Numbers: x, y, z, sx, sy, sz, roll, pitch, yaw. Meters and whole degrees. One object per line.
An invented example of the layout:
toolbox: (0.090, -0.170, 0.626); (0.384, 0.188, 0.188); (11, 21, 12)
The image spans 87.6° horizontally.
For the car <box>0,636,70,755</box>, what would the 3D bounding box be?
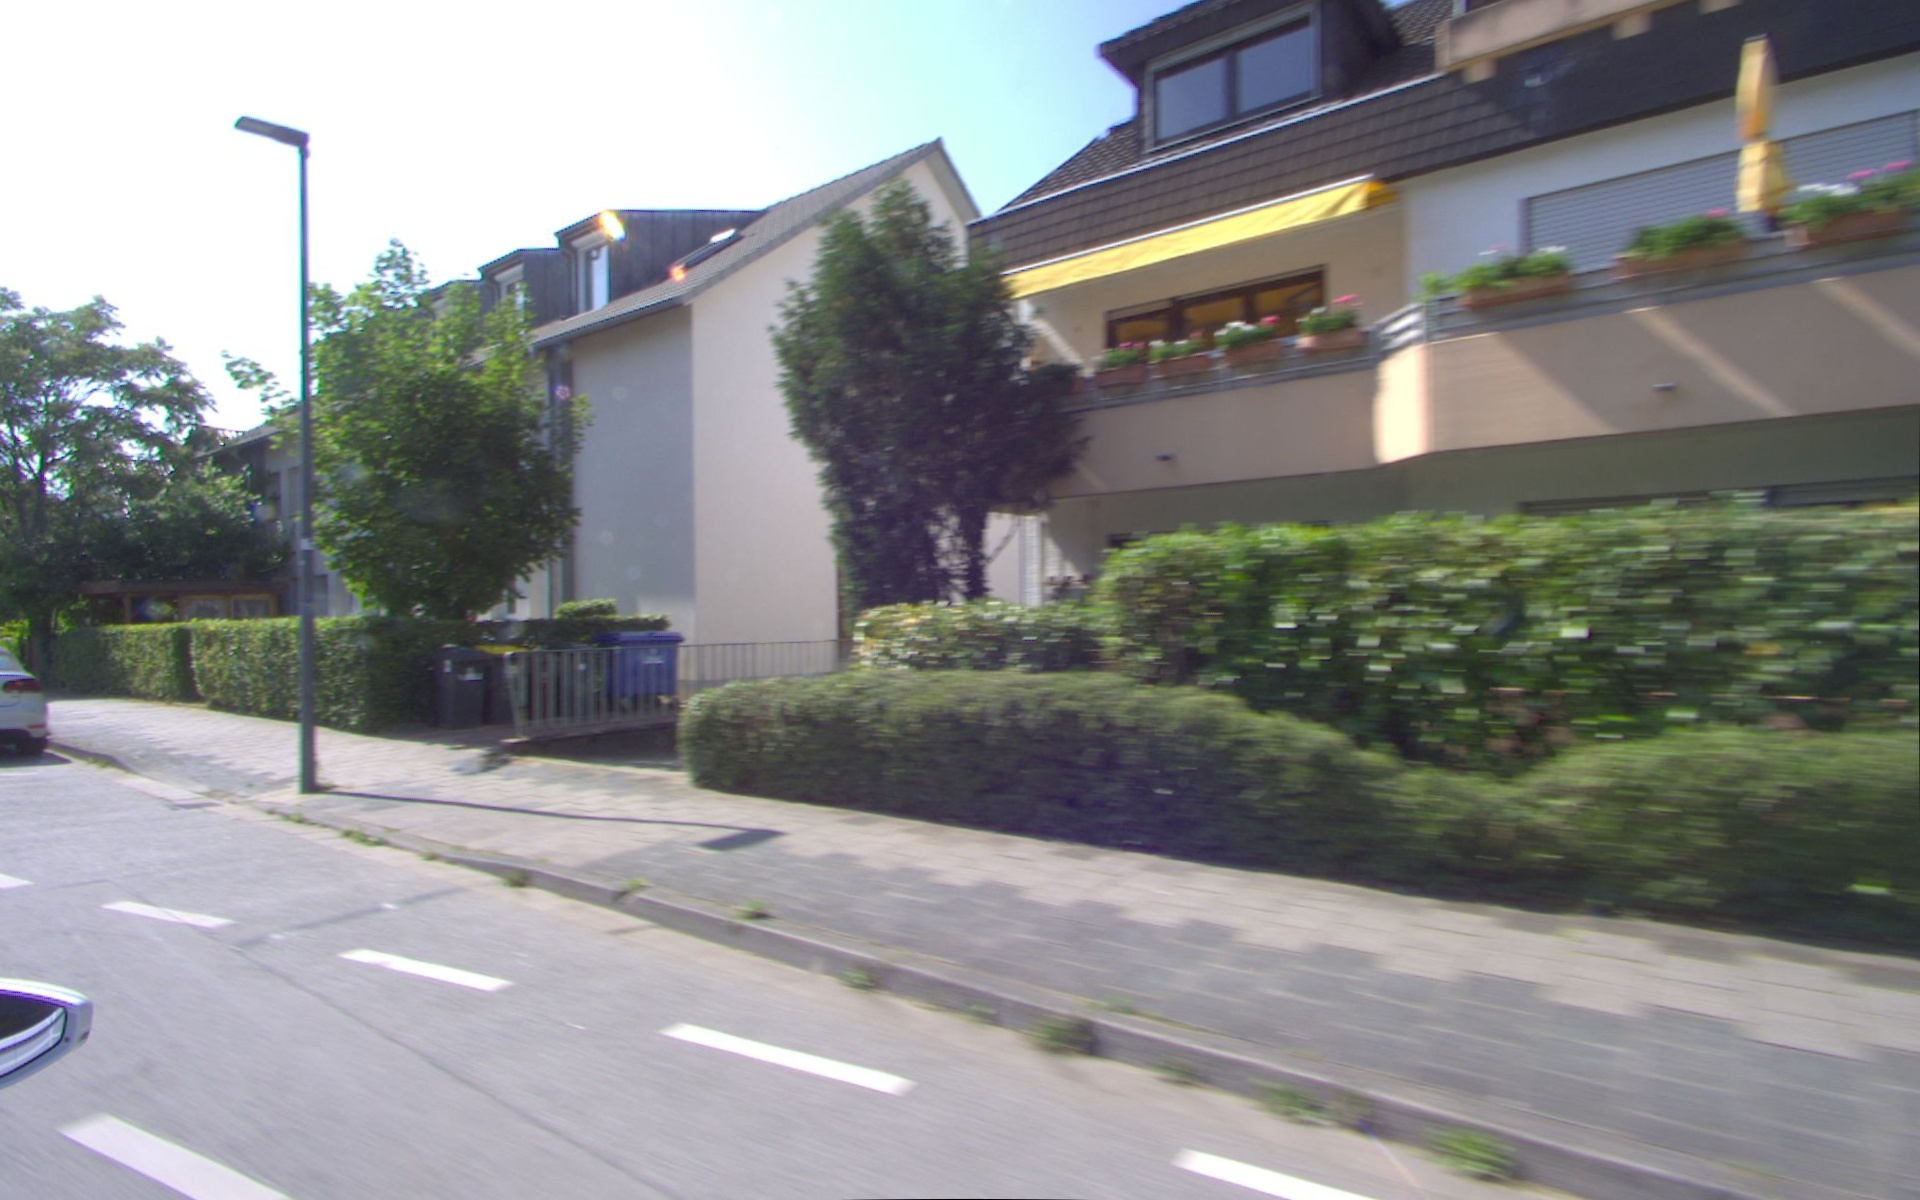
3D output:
car: (-13.282, 1.170, 13.053); (4.022, 1.419, 1.736); (-1, -4, 37)

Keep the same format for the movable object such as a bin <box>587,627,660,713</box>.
movable object such as a bin: (-5.196, 1.060, 15.468); (0.783, 1.260, 0.744); (-1, 0, 34)
